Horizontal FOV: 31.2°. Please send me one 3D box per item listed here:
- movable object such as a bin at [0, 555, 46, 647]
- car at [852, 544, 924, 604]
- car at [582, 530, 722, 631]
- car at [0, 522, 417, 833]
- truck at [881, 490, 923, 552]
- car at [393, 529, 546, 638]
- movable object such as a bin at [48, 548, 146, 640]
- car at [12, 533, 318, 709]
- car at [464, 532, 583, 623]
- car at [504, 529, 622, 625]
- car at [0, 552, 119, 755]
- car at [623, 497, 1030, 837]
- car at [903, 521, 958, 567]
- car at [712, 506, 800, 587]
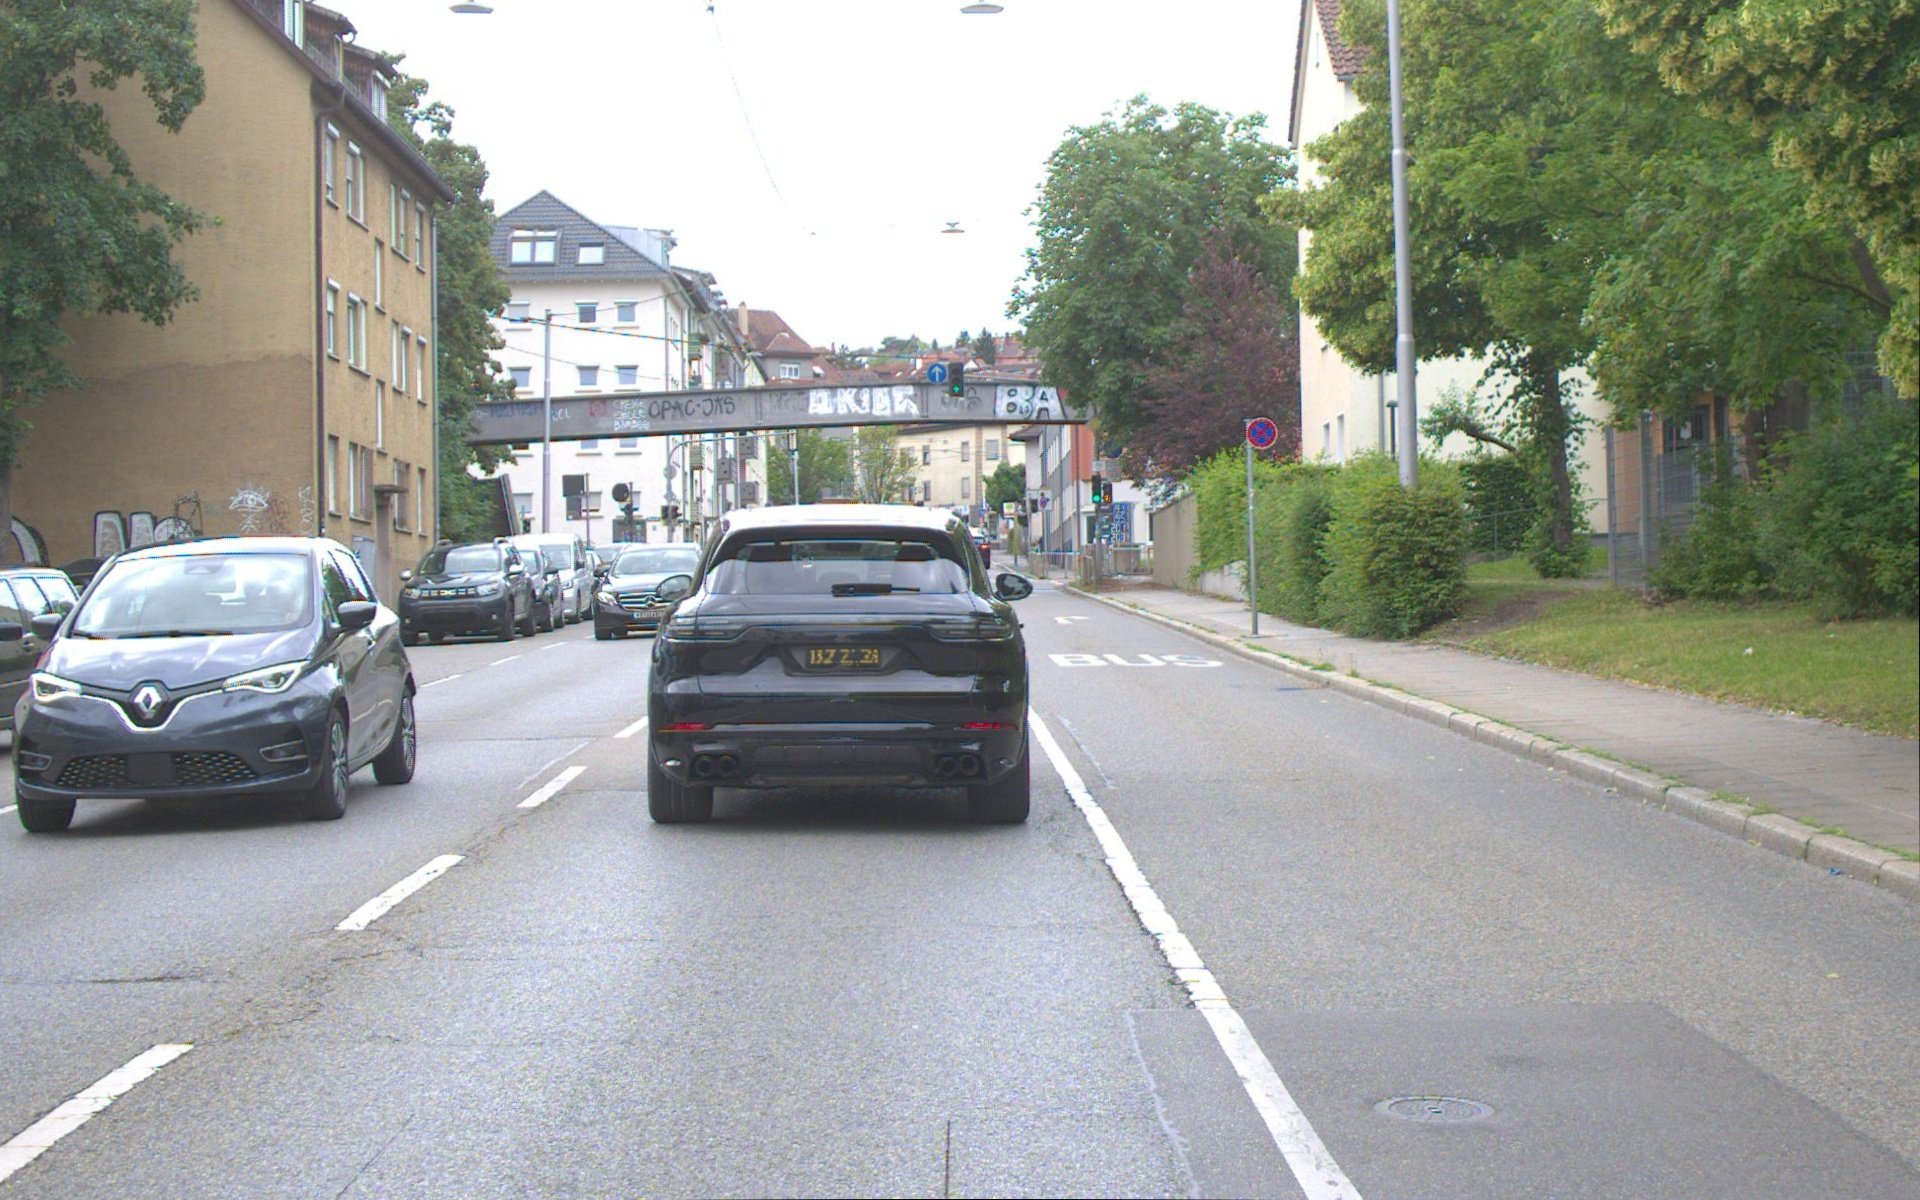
[{"bbox_3d":[-15.220,0.011,54.221,1.392,1.423,0.913,0,1,-3],"label":"movable object such as a bin"},{"bbox_3d":[-1.778,-0.672,86.150,1.741,1.395,4.000,0,2,0],"label":"car"},{"bbox_3d":[-4.807,-0.343,54.179,1.778,1.461,4.499,-2,1,0],"label":"car"},{"bbox_3d":[-4.215,0.360,19.638,1.683,1.550,3.719,-2,1,-2],"label":"car"},{"bbox_3d":[-3.304,-4.472,195.738,2.266,3.412,9.879,-1,1,-1],"label":"truck"},{"bbox_3d":[-7.998,-0.304,56.385,1.783,1.603,4.265,-3,1,1],"label":"car"},{"bbox_3d":[-13.540,-0.105,53.979,1.281,1.423,1.279,0,1,-5],"label":"movable object such as a bin"},{"bbox_3d":[-7.825,0.147,34.309,1.915,1.572,4.700,-2,1,0],"label":"car"},{"bbox_3d":[-7.835,-0.438,62.011,1.751,1.525,4.100,-2,1,-2],"label":"car"},{"bbox_3d":[-7.772,-0.486,67.605,1.776,1.748,4.558,-2,1,-1],"label":"car"},{"bbox_3d":[-7.811,0.416,25.532,1.798,1.426,4.743,-2,1,2],"label":"car"},{"bbox_3d":[-0.666,0.271,18.925,1.993,1.656,4.000,0,2,0],"label":"car"},{"bbox_3d":[-0.938,-1.819,110.801,1.741,1.395,4.000,0,2,0],"label":"car"},{"bbox_3d":[-4.991,-1.346,84.716,1.931,1.894,4.590,-1,1,-1],"label":"car"}]
